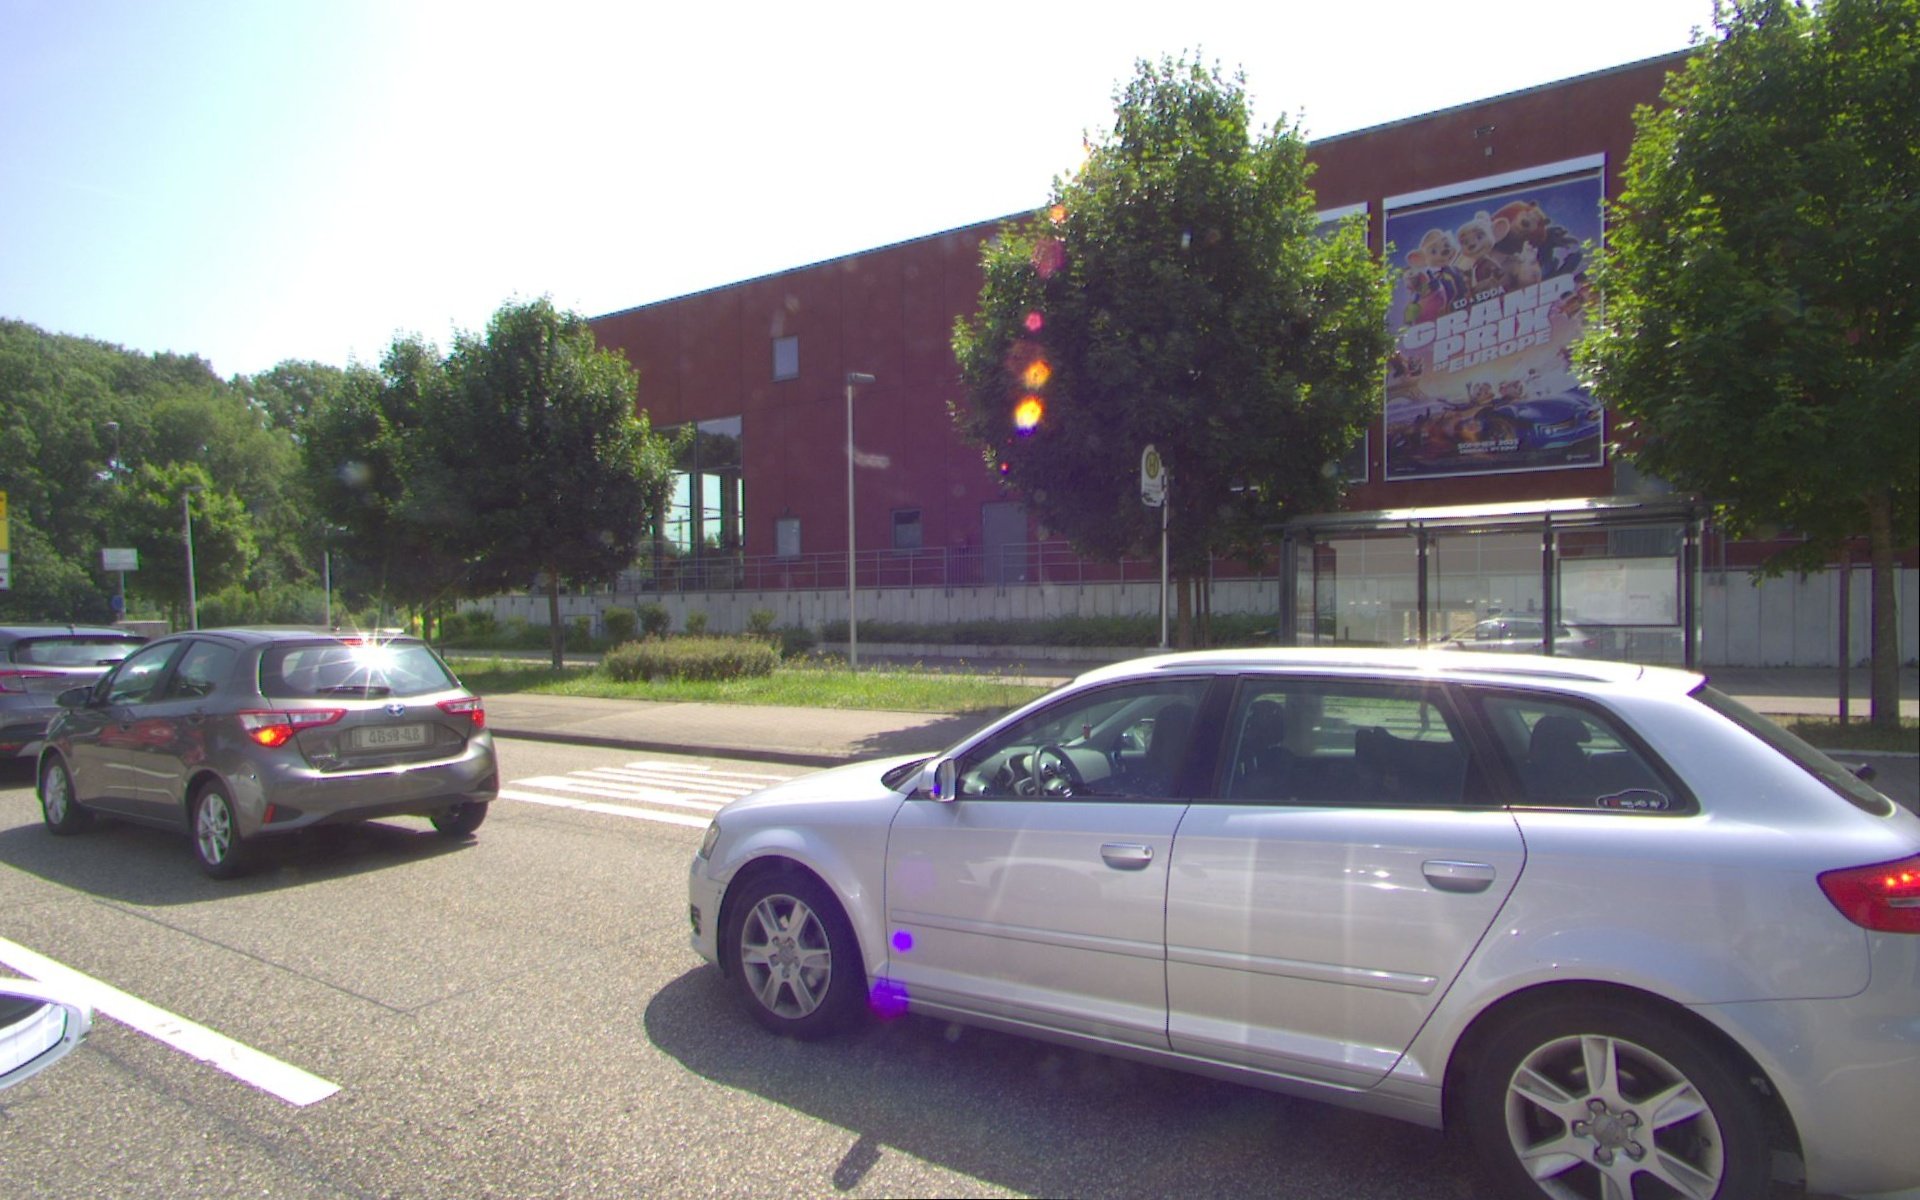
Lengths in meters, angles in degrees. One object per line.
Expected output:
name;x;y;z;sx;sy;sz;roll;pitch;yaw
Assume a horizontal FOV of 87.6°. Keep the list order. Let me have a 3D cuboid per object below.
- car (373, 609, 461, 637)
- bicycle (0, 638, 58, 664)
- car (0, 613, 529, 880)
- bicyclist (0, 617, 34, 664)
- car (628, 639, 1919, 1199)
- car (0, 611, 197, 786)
car;-33.233;1.384;61.450;1.772;1.550;4.463;-1;0;31
bicycle;-30.541;1.652;32.493;0.591;0.776;1.821;-1;0;24
car;-5.248;0.900;7.406;4.031;1.496;1.711;-1;-4;31
bicyclist;-30.607;1.294;32.355;0.589;1.458;0.826;0;1;25
car;0.847;0.851;3.690;4.031;1.379;1.710;-1;-2;31
car;-10.245;0.946;10.906;4.031;1.614;1.709;-1;-1;31
